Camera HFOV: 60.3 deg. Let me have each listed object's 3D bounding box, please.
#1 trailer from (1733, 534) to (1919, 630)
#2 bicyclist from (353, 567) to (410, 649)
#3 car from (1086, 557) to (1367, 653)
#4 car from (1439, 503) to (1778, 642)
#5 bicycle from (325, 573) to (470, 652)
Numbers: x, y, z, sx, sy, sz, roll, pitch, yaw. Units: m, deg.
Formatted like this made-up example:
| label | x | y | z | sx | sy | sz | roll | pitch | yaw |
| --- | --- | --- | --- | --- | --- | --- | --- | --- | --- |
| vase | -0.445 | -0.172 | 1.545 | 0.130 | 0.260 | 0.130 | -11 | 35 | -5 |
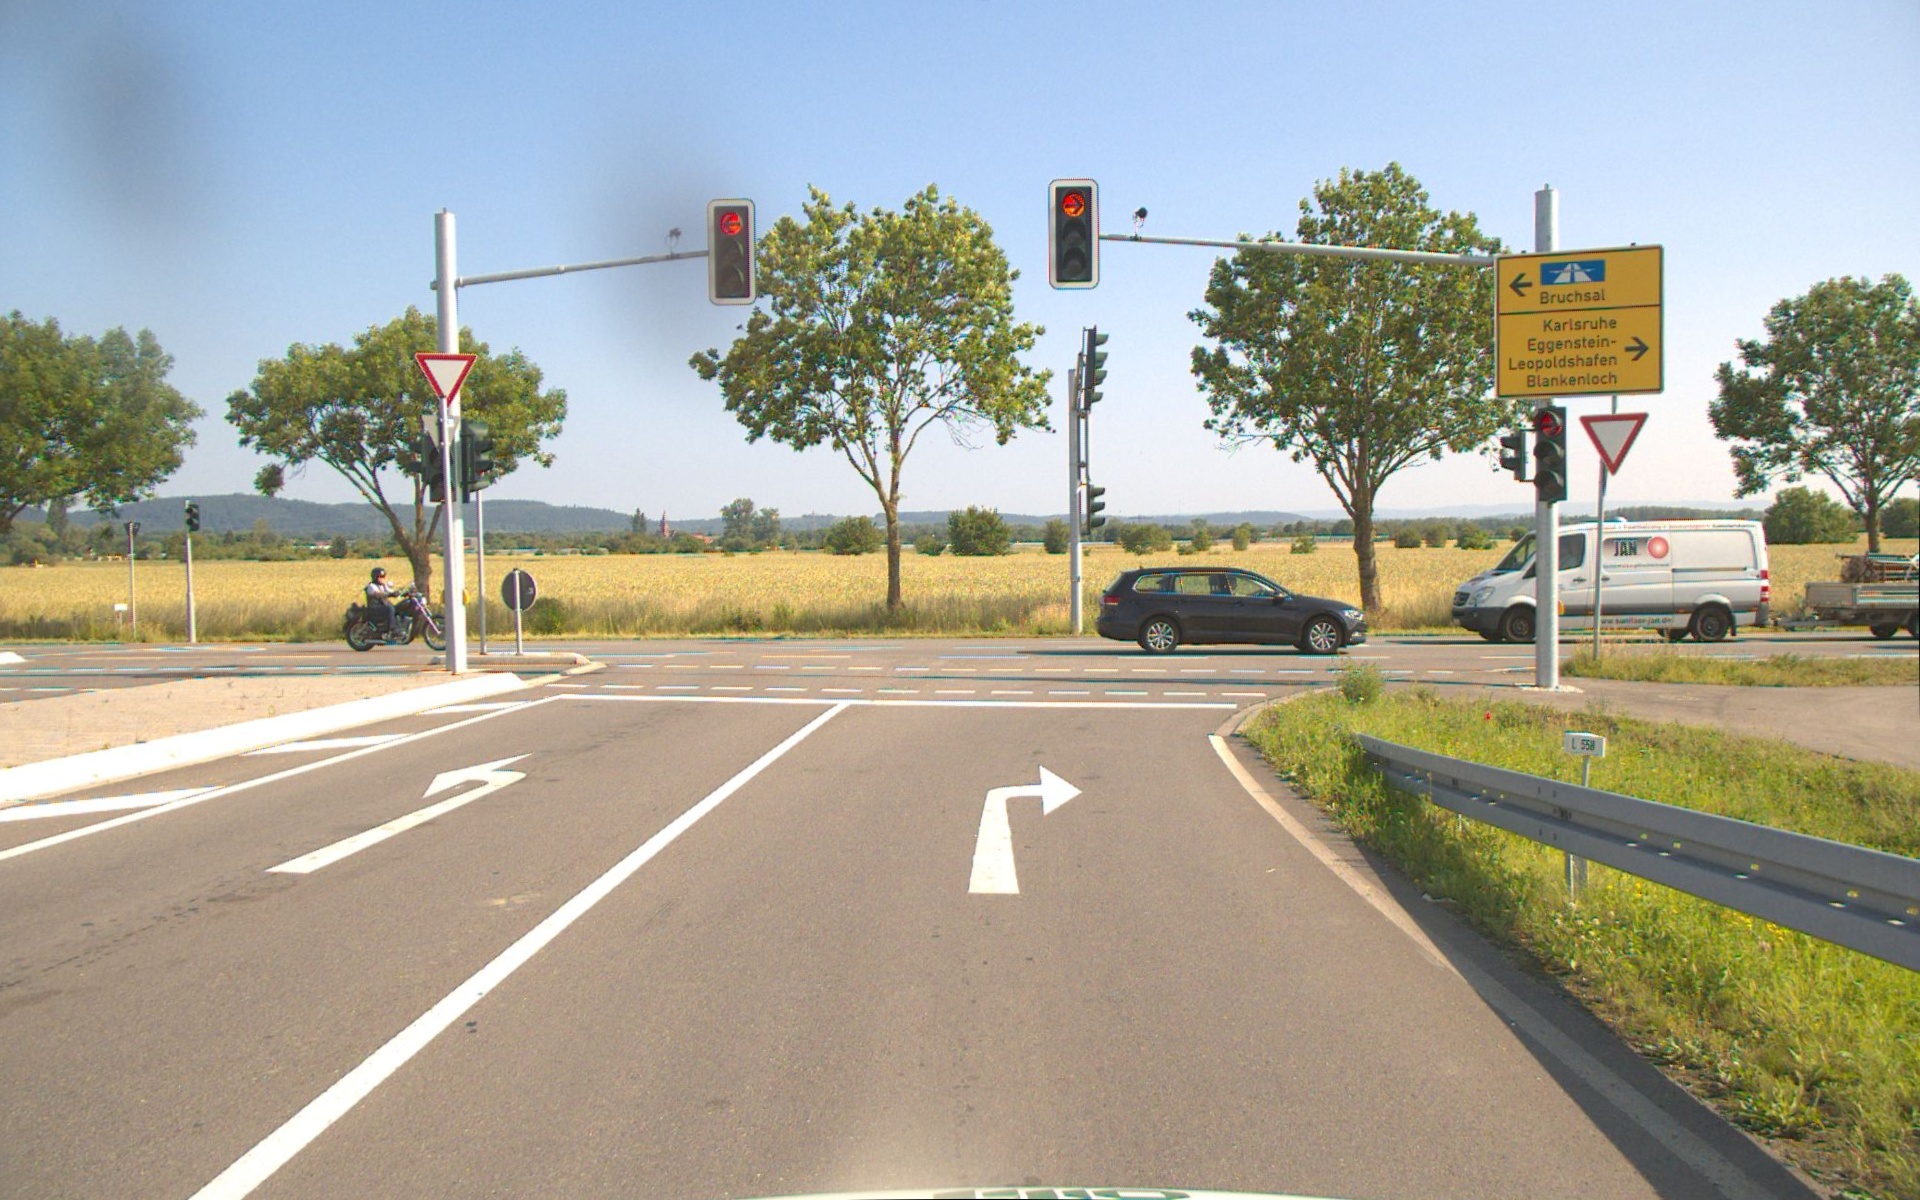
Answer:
| label | x | y | z | sx | sy | sz | roll | pitch | yaw |
| --- | --- | --- | --- | --- | --- | --- | --- | --- | --- |
| trailer | 18.104 | -0.366 | 32.249 | 5.152 | 1.783 | 1.954 | -1 | 1 | 1 |
| bicyclist | -10.805 | 0.146 | 30.918 | 0.791 | 1.515 | 0.757 | 1 | 0 | -1 |
| car | 4.541 | 0.062 | 28.653 | 4.576 | 1.545 | 1.922 | -1 | 2 | 1 |
| car | 12.578 | -0.531 | 32.352 | 5.834 | 2.536 | 2.000 | 1 | 0 | 1 |
| bicycle | -10.516 | 0.233 | 30.999 | 2.441 | 1.421 | 0.732 | 1 | 0 | -3 |
